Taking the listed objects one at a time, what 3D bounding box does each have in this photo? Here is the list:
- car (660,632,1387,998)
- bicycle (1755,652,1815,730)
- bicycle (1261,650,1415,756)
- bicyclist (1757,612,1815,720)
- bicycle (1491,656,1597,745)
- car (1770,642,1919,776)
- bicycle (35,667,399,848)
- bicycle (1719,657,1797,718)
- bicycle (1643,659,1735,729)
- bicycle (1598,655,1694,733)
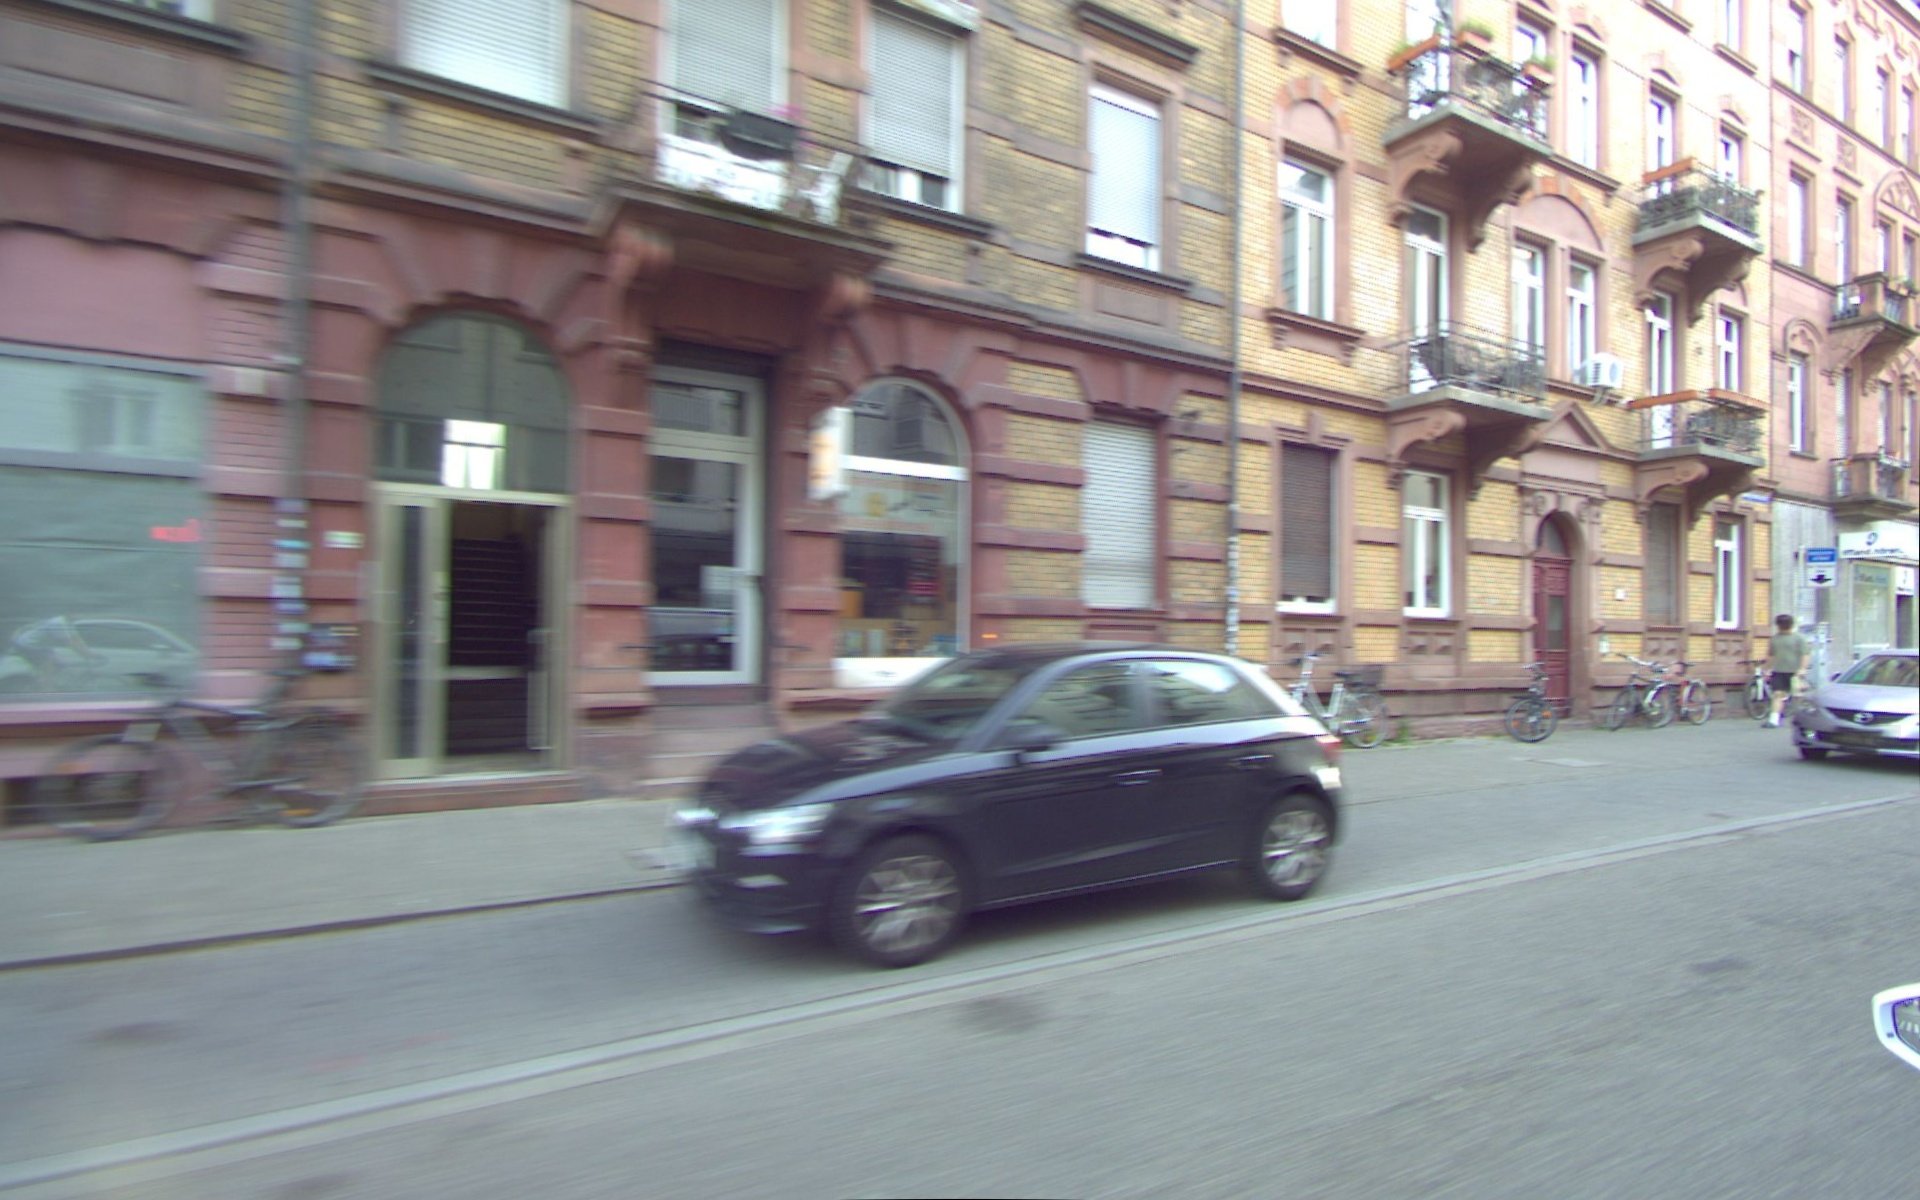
[{"bbox_3d":[0.415,0.929,5.699,3.806,1.439,1.687,1,-1,-28],"label":"car"},{"bbox_3d":[13.889,1.505,16.901,0.700,1.212,1.733,1,-2,42],"label":"bicycle"},{"bbox_3d":[4.638,1.223,12.266,2.021,1.186,0.525,1,0,-28],"label":"bicycle"},{"bbox_3d":[13.923,1.105,16.929,0.700,1.752,0.838,1,-2,42],"label":"bicyclist"},{"bbox_3d":[8.284,1.390,14.229,1.596,1.138,0.733,1,0,-37],"label":"bicycle"},{"bbox_3d":[12.332,1.302,12.760,4.529,1.439,1.714,2,-1,-31],"label":"car"},{"bbox_3d":[-4.835,0.993,6.693,1.874,1.067,0.424,2,-1,-27],"label":"bicycle"},{"bbox_3d":[14.607,1.583,18.369,1.826,1.036,0.447,2,2,-30],"label":"bicycle"},{"bbox_3d":[12.148,1.541,16.726,1.739,1.051,0.546,1,1,-30],"label":"bicycle"},{"bbox_3d":[10.953,1.475,16.024,1.739,1.138,0.546,1,1,-30],"label":"bicycle"}]
